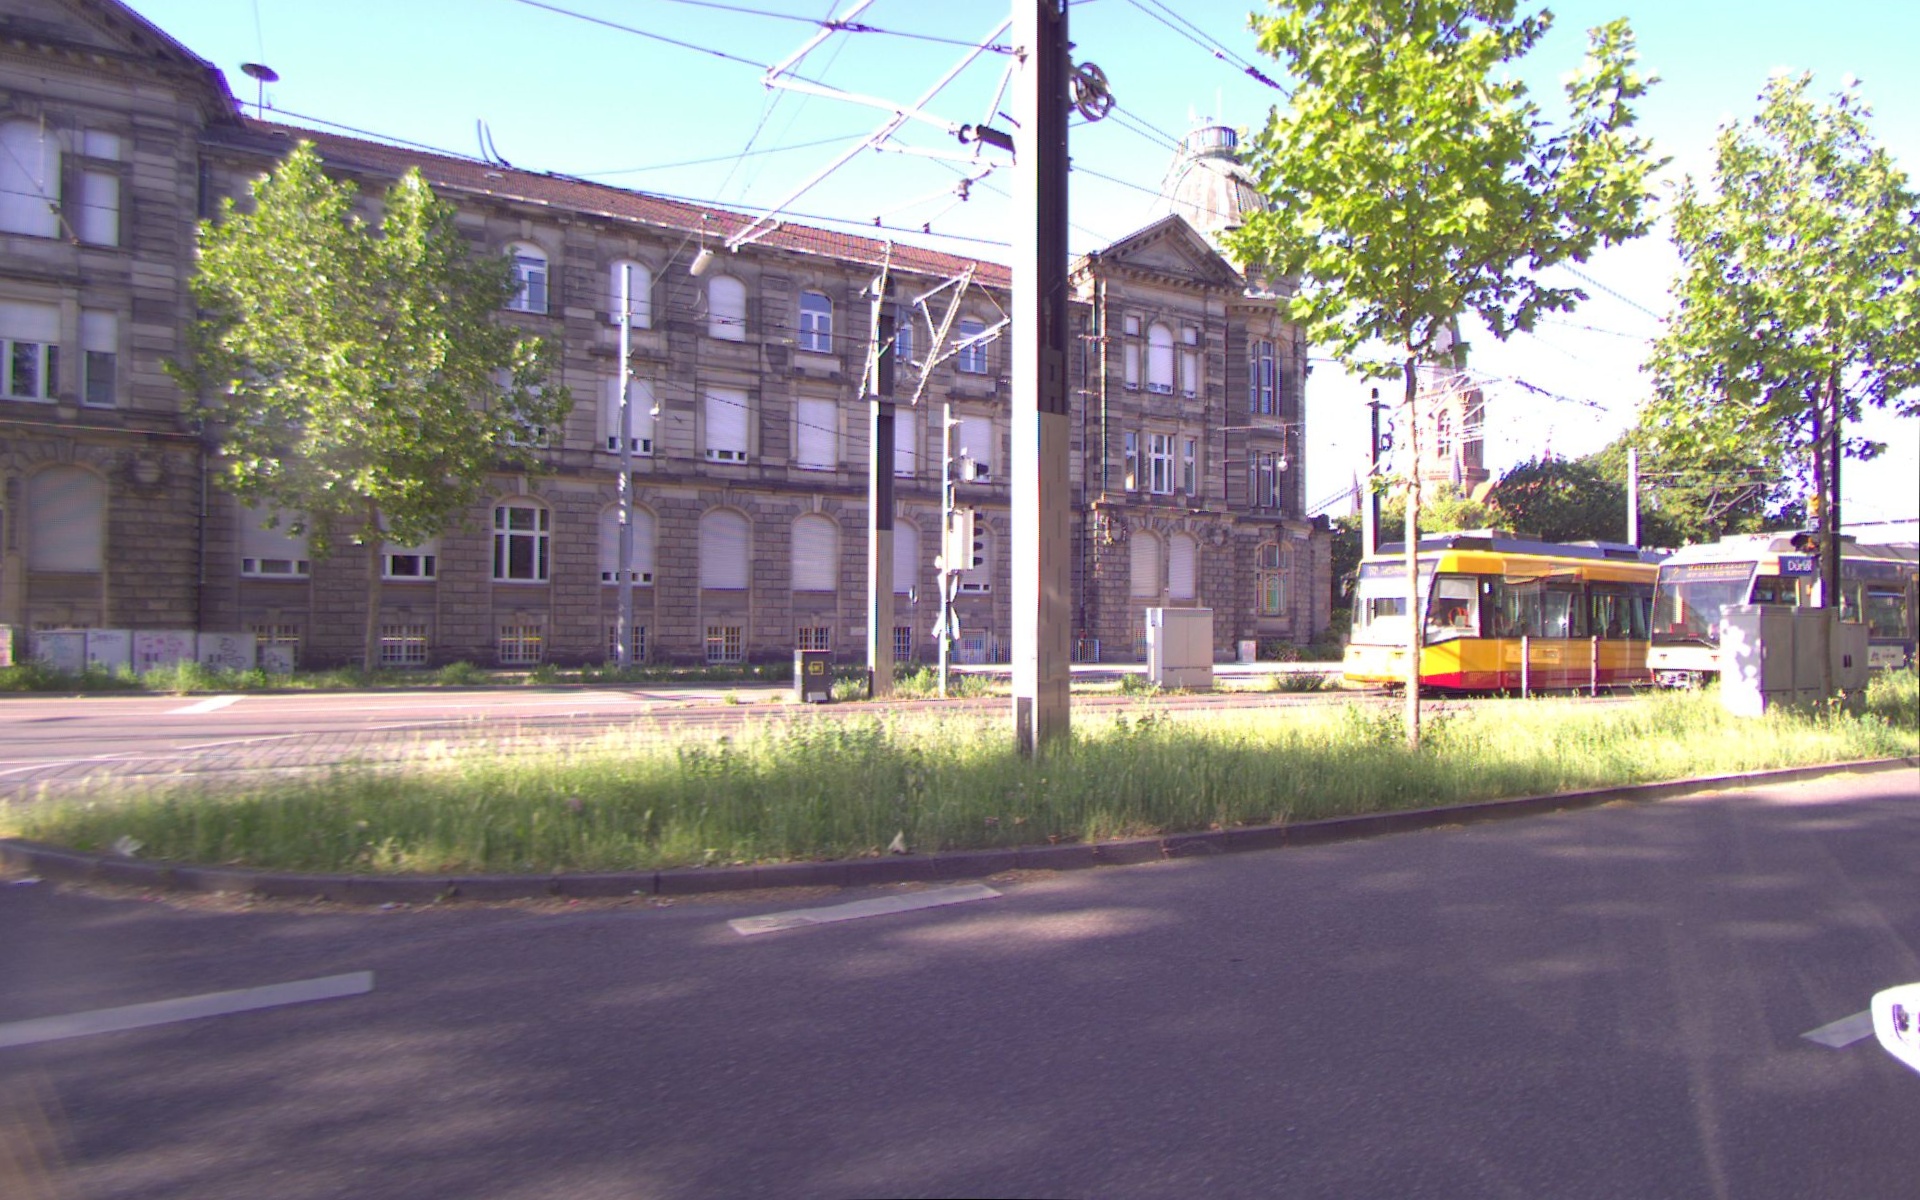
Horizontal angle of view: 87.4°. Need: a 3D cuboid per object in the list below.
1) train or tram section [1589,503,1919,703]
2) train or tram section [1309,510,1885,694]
[{"bbox_3d":[20.886,0.222,23.364,14.066,3.863,2.922,2,0,-22],"label":"train or tram section"},{"bbox_3d":[17.438,0.223,25.728,20.961,3.530,2.950,1,0,-30],"label":"train or tram section"}]
